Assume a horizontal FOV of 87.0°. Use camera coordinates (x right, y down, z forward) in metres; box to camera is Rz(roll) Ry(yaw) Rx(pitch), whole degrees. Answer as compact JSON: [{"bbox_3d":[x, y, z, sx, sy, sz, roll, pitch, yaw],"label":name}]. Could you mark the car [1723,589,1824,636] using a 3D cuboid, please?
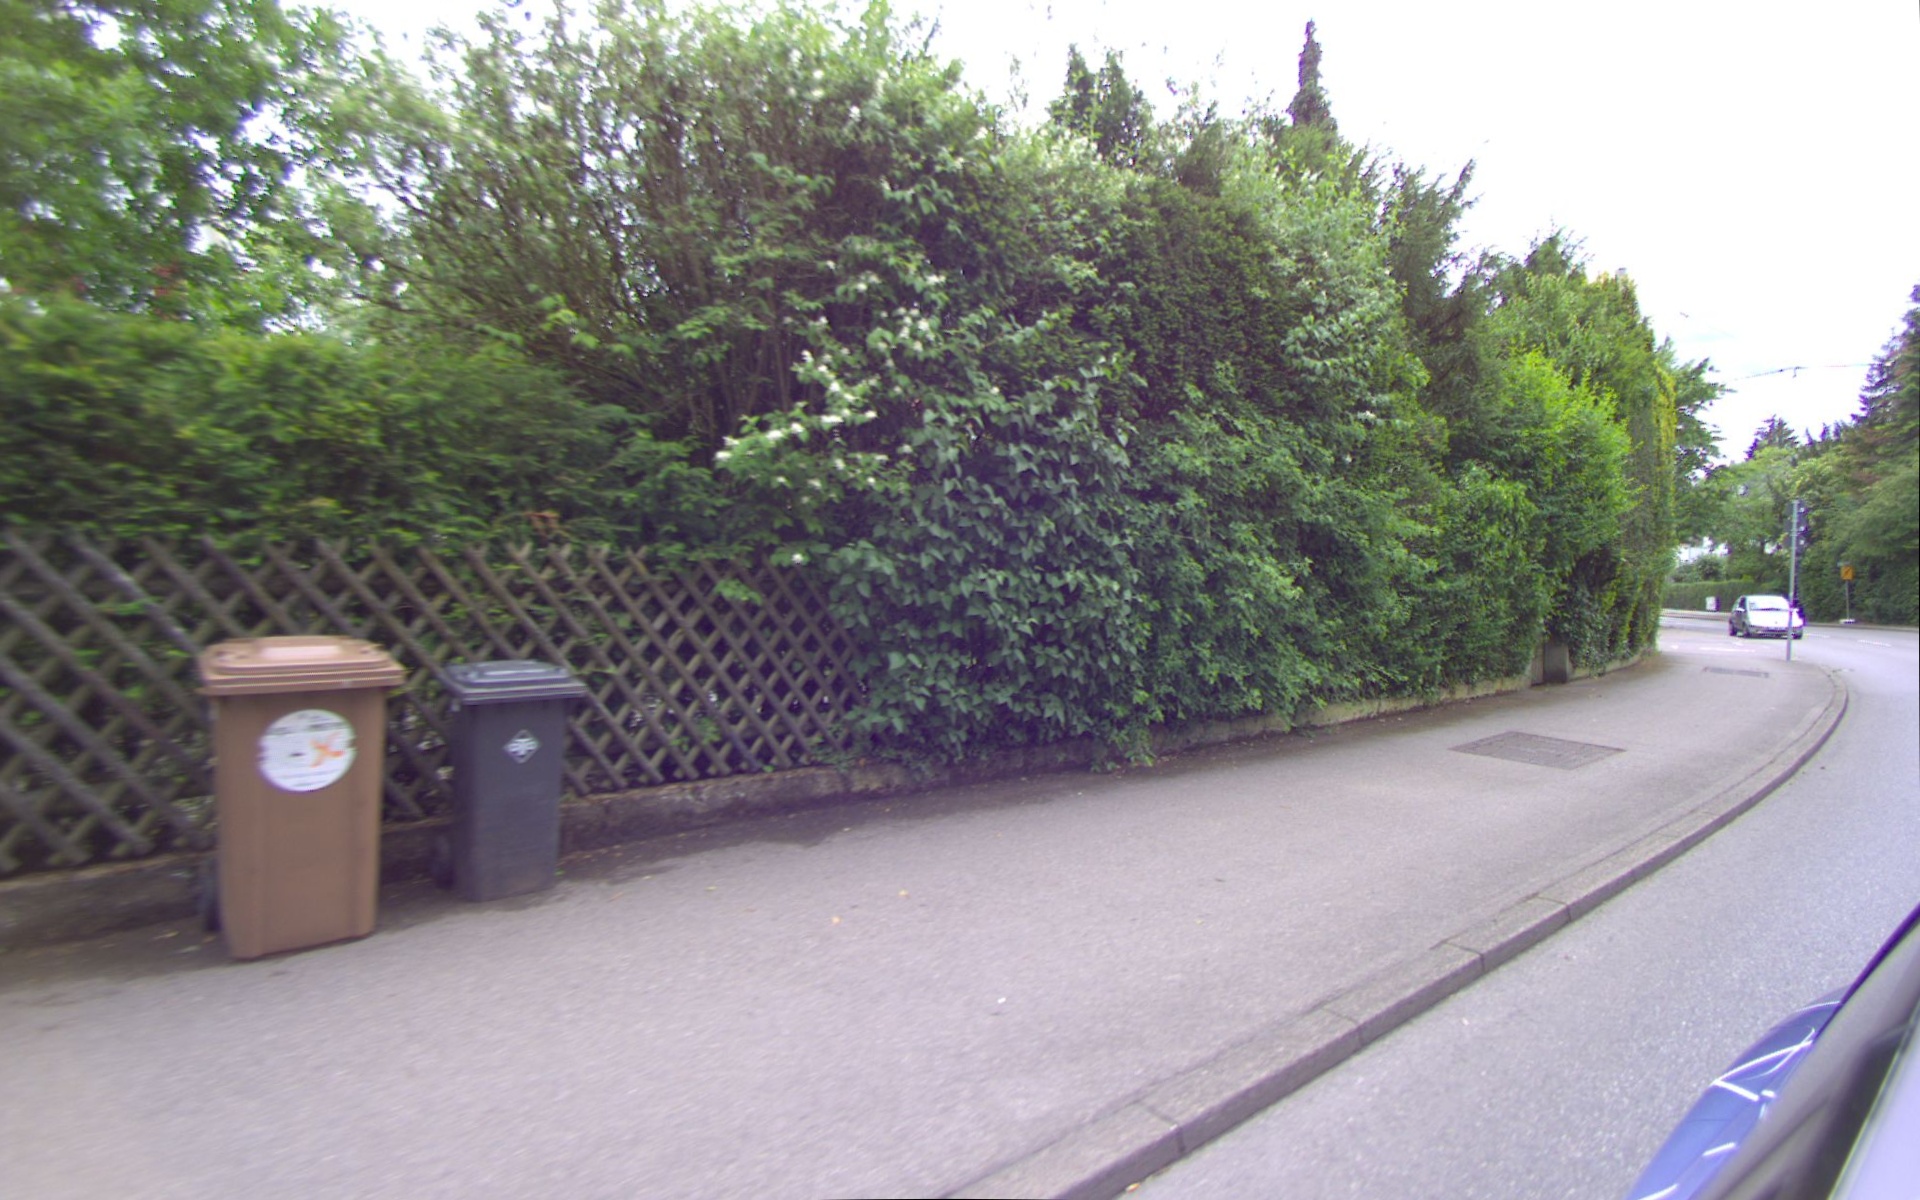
[{"bbox_3d":[30.559,0.426,38.154,1.979,1.616,3.967,1,1,24],"label":"car"}]
